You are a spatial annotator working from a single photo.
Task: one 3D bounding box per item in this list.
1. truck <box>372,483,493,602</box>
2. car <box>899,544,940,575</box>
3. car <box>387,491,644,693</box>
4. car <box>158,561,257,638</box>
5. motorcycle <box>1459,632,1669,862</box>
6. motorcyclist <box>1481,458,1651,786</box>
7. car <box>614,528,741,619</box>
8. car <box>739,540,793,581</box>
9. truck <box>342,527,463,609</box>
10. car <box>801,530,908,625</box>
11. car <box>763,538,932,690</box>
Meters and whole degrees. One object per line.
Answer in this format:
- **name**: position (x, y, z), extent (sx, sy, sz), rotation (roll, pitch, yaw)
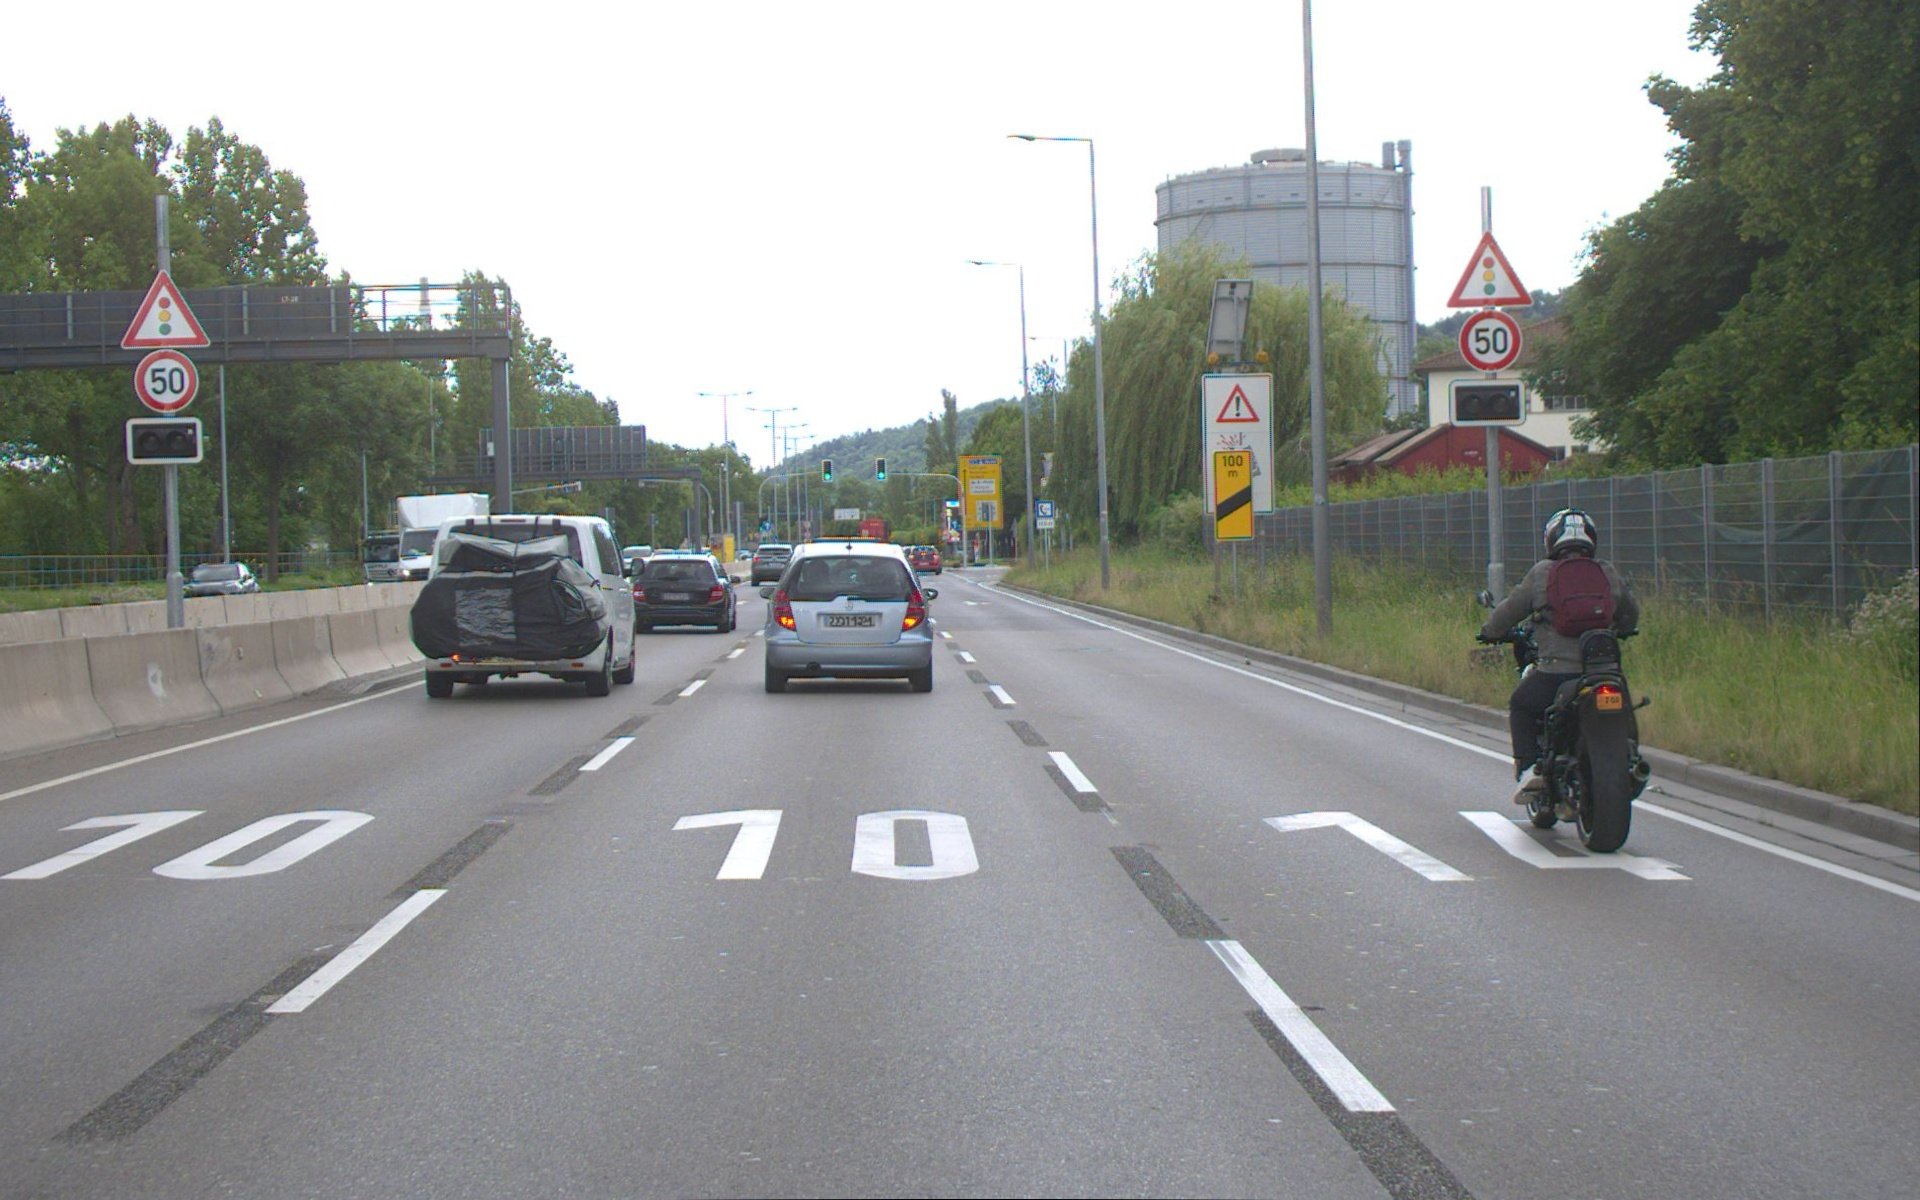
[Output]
- **truck**: position (-14.373, -1.581, 94.049), extent (2.403, 3.096, 7.202), rotation (1, 1, -2)
- **car**: position (-2.135, -2.130, 180.200), extent (1.993, 1.546, 4.001), rotation (1, 1, -2)
- **car**: position (-4.528, -0.115, 35.730), extent (2.214, 1.919, 5.003), rotation (1, 1, -3)
- **car**: position (-20.474, -0.042, 93.697), extent (1.993, 2.007, 4.001), rotation (1, 1, -3)
- **motorcycle**: position (3.036, 0.711, 17.454), extent (0.706, 1.036, 2.027), rotation (1, 1, 0)
- **motorcyclist**: position (3.050, 0.102, 17.358), extent (0.685, 1.604, 0.845), rotation (1, 1, 0)
- **car**: position (-5.016, -0.493, 61.438), extent (1.993, 1.546, 4.000), rotation (1, 1, -1)
- **car**: position (-7.514, -1.536, 133.452), extent (1.993, 1.546, 4.001), rotation (1, 1, -2)
- **truck**: position (-22.501, -1.353, 139.660), extent (2.854, 3.096, 15.887), rotation (1, 1, -2)
- **car**: position (-1.943, -0.442, 64.119), extent (1.907, 1.678, 4.000), rotation (1, 1, -1)
- **car**: position (-1.211, 0.115, 37.120), extent (1.710, 1.525, 4.000), rotation (1, 1, -2)
